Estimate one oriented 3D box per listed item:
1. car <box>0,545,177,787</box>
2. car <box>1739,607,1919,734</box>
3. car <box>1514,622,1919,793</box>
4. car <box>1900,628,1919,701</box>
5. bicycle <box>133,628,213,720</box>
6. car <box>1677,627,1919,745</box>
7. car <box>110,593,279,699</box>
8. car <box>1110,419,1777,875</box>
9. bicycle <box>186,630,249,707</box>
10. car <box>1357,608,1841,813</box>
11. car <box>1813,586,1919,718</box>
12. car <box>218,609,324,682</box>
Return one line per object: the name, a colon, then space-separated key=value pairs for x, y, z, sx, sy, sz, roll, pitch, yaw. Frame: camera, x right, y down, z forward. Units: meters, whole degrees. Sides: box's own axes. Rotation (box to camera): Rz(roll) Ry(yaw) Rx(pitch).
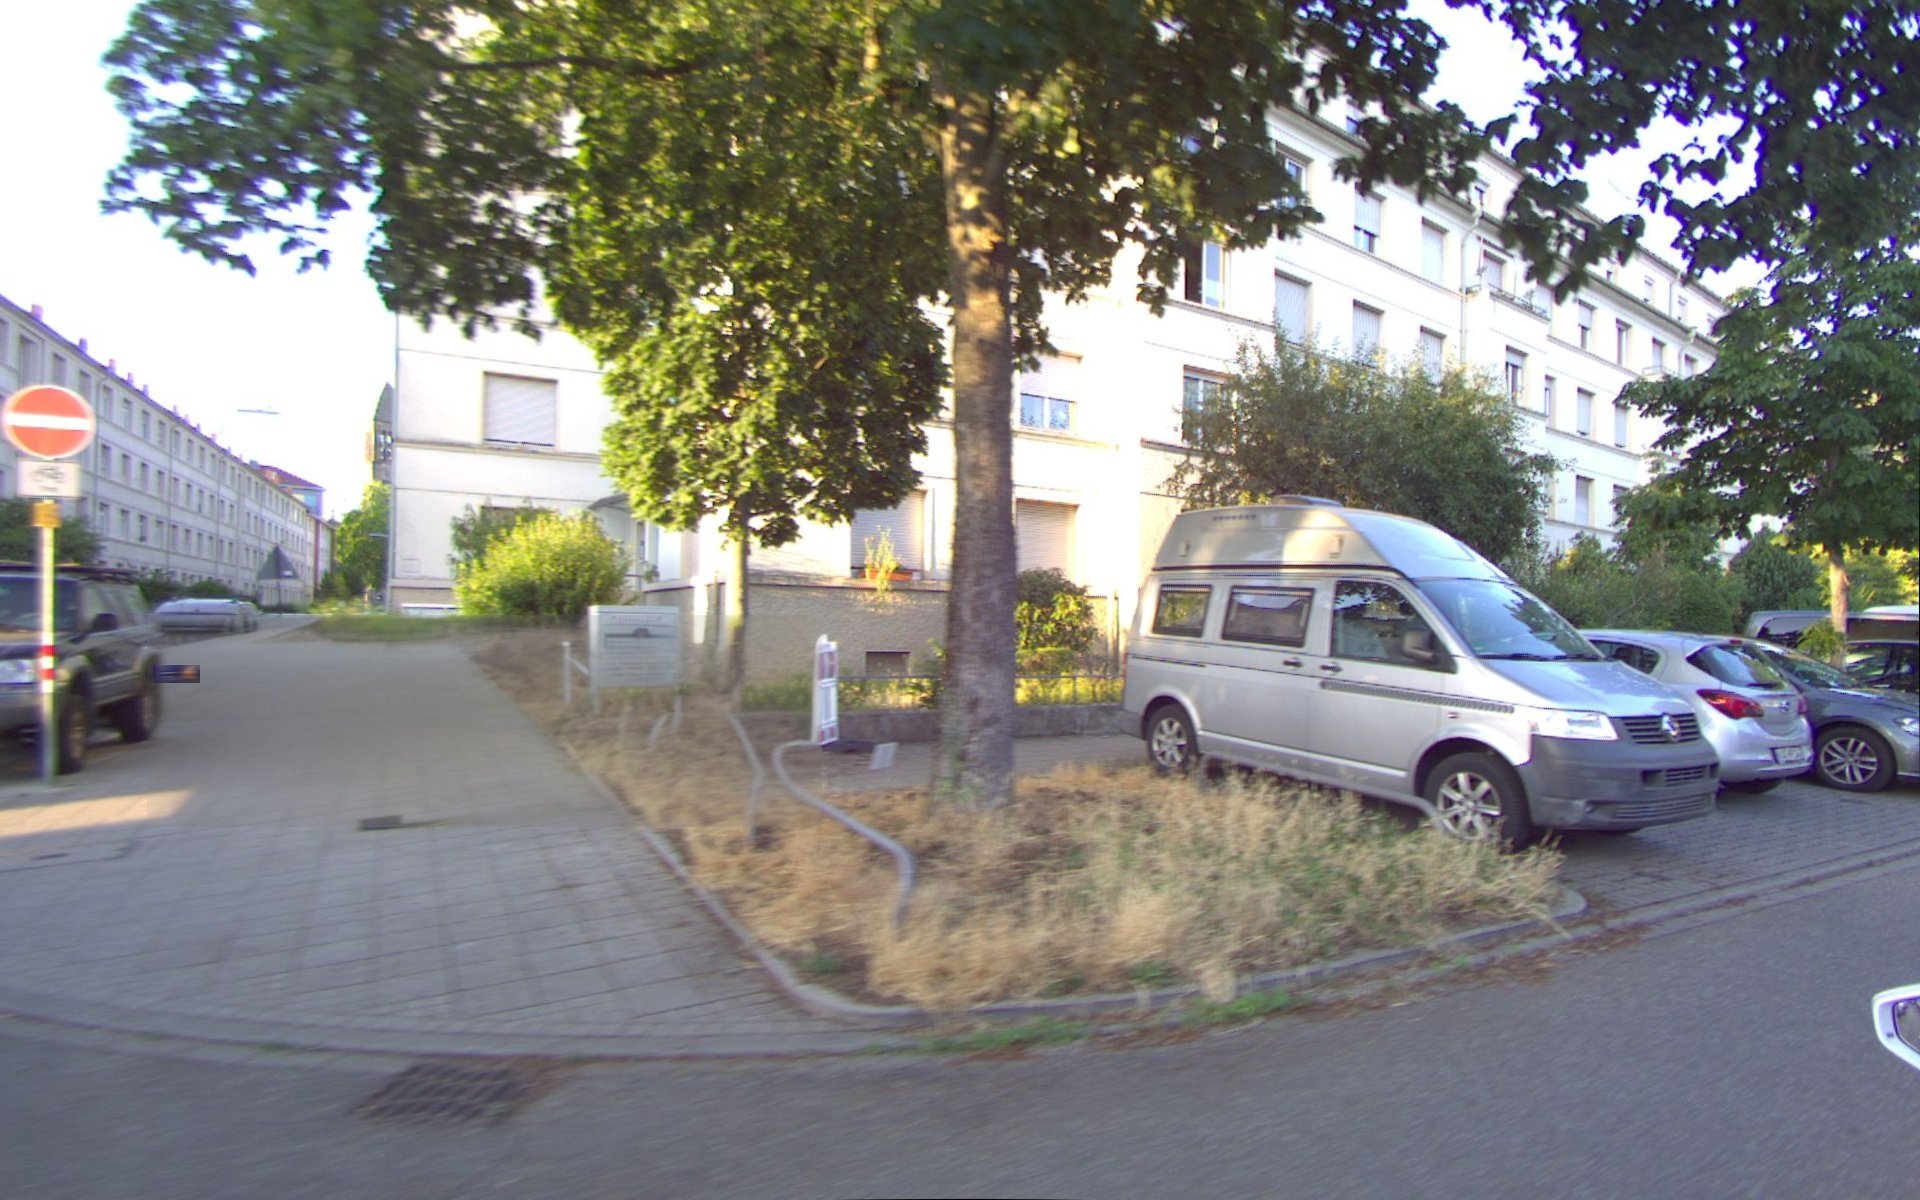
car: x=-9.681 y=0.549 z=10.199 sx=1.976 sy=2.040 sz=4.557 roll=2 pitch=-1 yaw=-29
car: x=15.243 y=1.088 z=15.567 sx=1.981 sy=1.898 sz=4.642 roll=2 pitch=-1 yaw=-35
car: x=8.693 y=1.050 z=11.131 sx=1.664 sy=1.413 sz=4.224 roll=2 pitch=0 yaw=-30
car: x=23.128 y=1.475 z=21.698 sx=1.767 sy=1.616 sz=3.836 roll=2 pitch=-1 yaw=-34
bicycle: x=-11.382 y=1.024 z=14.583 sx=0.427 sy=1.188 sz=2.201 roll=1 pitch=-1 yaw=-26
car: x=12.782 y=1.188 z=14.392 sx=1.639 sy=1.458 sz=3.745 roll=2 pitch=0 yaw=-34
car: x=-14.768 y=0.829 z=19.625 sx=1.976 sy=1.842 sz=3.970 roll=2 pitch=-1 yaw=-28
car: x=3.465 y=0.299 z=8.298 sx=1.975 sy=2.603 sz=4.712 roll=2 pitch=-1 yaw=-28
bicycle: x=-12.644 y=1.129 z=17.150 sx=0.427 sy=1.188 sz=2.201 roll=1 pitch=-1 yaw=-26
car: x=6.186 y=0.930 z=10.173 sx=1.634 sy=1.543 sz=3.782 roll=2 pitch=1 yaw=-32
car: x=19.158 y=1.002 z=18.850 sx=1.980 sy=2.463 sz=4.472 roll=2 pitch=-1 yaw=-35
car: x=-16.656 y=1.055 z=24.442 sx=1.629 sy=1.624 sz=3.427 roll=2 pitch=-1 yaw=-27
